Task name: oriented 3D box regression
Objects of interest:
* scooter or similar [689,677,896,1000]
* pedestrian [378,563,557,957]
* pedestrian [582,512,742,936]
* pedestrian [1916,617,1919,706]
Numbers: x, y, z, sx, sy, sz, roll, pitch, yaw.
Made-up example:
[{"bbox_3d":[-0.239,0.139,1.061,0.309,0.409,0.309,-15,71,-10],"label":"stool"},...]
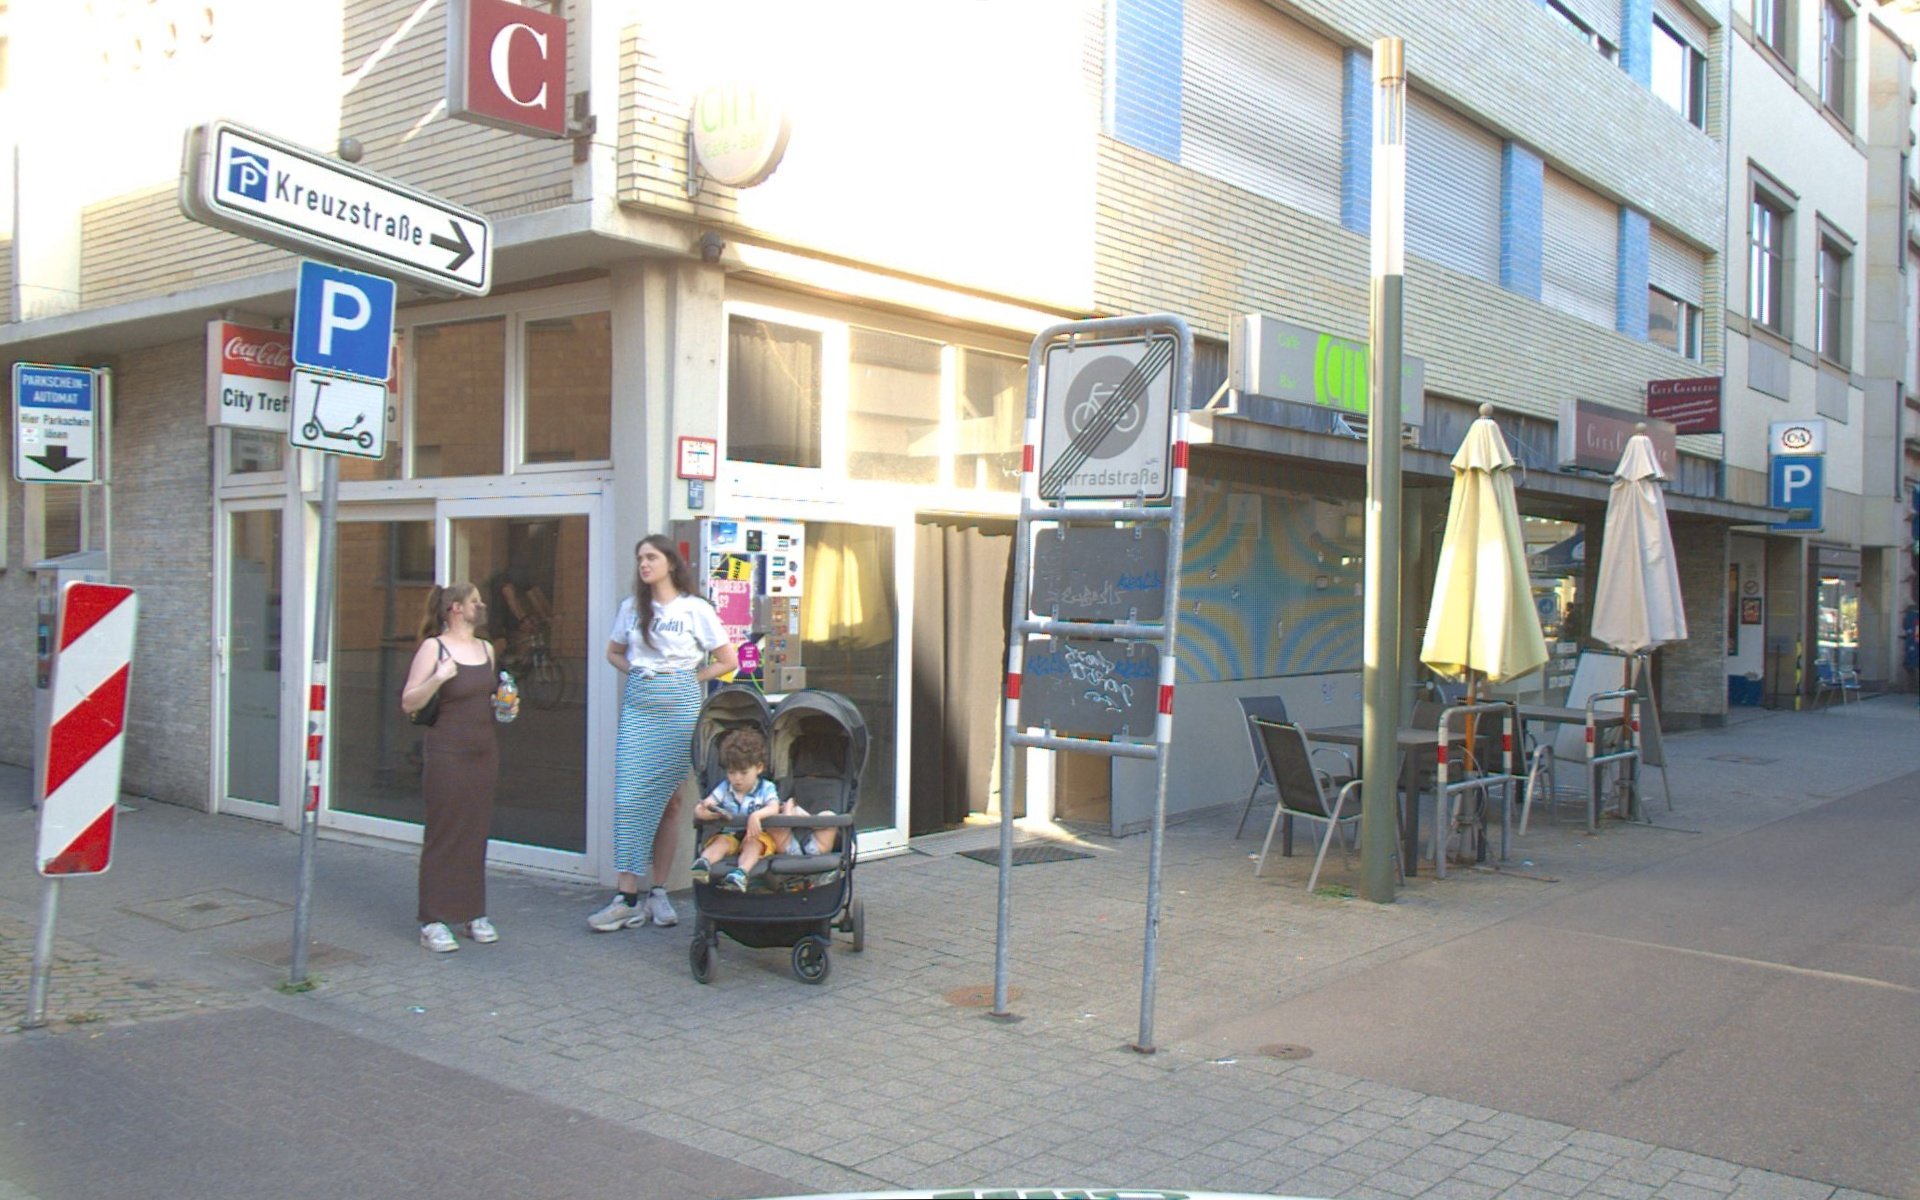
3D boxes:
[{"bbox_3d":[-0.701,0.934,6.826,0.781,1.164,0.952,1,1,-8],"label":"scooter or similar"},{"bbox_3d":[-2.123,0.651,7.137,0.530,1.607,0.502,-3,2,-44],"label":"pedestrian"},{"bbox_3d":[-1.350,0.535,7.572,0.645,1.851,0.570,-1,2,-9],"label":"pedestrian"},{"bbox_3d":[15.493,0.968,26.072,0.694,1.392,0.719,1,0,28],"label":"pedestrian"}]
